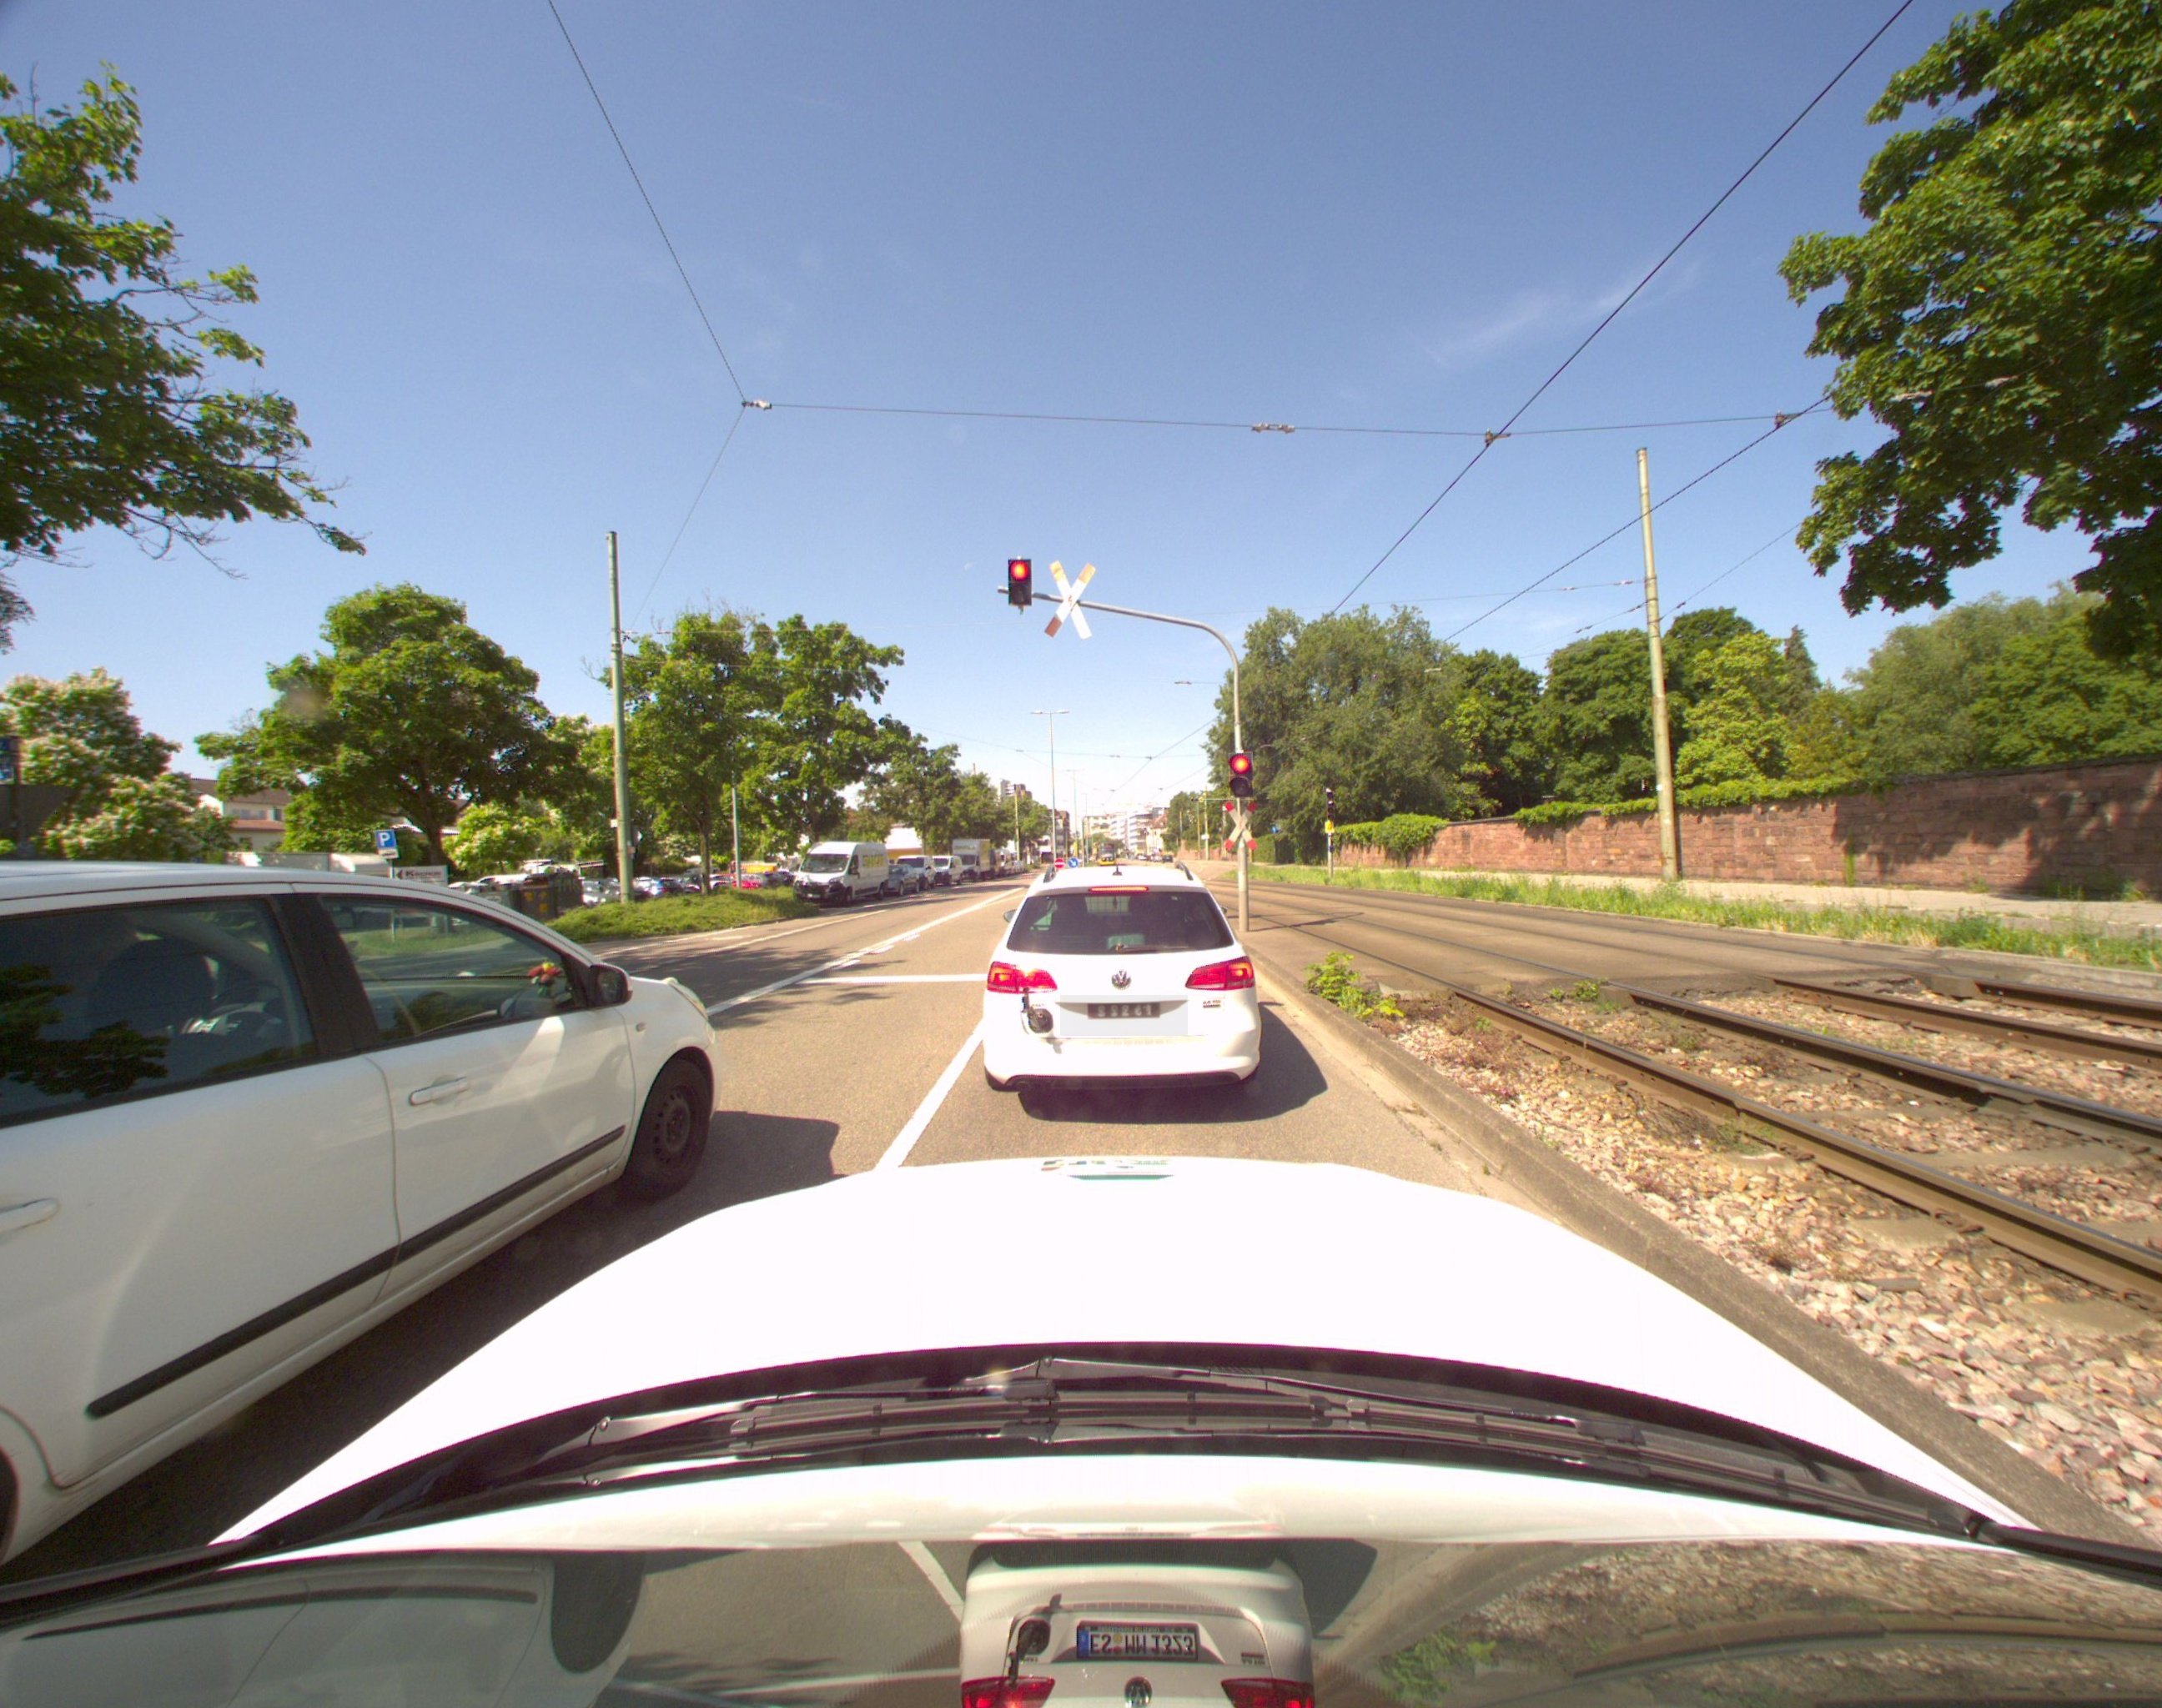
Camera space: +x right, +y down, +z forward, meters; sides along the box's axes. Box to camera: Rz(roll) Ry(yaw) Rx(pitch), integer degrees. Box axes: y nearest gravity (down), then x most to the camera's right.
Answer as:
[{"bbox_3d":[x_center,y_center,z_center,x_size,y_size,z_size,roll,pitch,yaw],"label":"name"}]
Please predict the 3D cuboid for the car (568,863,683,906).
[{"bbox_3d":[-20.160,1.336,36.154,3.978,1.610,1.729,-4,0,-3],"label":"car"}]

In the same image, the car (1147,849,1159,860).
[{"bbox_3d":[13.256,0.073,149.559,1.857,1.868,5.062,0,0,1],"label":"car"}]

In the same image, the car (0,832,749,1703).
[{"bbox_3d":[-2.743,0.746,2.238,1.656,1.547,4.548,-1,0,1],"label":"car"}]

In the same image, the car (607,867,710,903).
[{"bbox_3d":[-20.506,1.479,39.622,3.978,1.415,1.729,-4,0,-3],"label":"car"}]

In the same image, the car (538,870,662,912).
[{"bbox_3d":[-19.943,1.498,33.878,3.978,1.415,1.729,-4,0,-3],"label":"car"}]

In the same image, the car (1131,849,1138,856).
[{"bbox_3d":[15.427,-0.417,235.095,1.857,1.868,5.062,0,0,1],"label":"car"}]

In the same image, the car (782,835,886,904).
[{"bbox_3d":[-9.733,0.532,32.746,2.114,2.516,5.822,0,0,3],"label":"car"}]

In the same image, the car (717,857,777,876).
[{"bbox_3d":[-31.868,1.181,77.808,4.781,1.787,2.062,0,0,-3],"label":"car"}]

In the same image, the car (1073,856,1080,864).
[{"bbox_3d":[-1.186,1.499,210.537,1.756,1.896,4.915,0,0,1],"label":"car"}]

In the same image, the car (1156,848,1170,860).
[{"bbox_3d":[13.450,0.005,133.252,1.857,1.868,5.062,0,0,1],"label":"car"}]

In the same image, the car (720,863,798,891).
[{"bbox_3d":[-19.681,1.404,49.907,3.978,1.415,1.729,-4,0,-3],"label":"car"}]

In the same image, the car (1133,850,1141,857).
[{"bbox_3d":[15.078,-0.114,220.464,1.857,1.868,5.062,0,0,1],"label":"car"}]

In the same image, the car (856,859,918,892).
[{"bbox_3d":[-9.251,1.003,39.160,1.857,1.415,4.281,0,0,1],"label":"car"}]

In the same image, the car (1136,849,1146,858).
[{"bbox_3d":[13.381,-0.115,181.612,1.857,1.868,5.062,0,0,1],"label":"car"}]

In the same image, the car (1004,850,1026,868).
[{"bbox_3d":[-7.432,0.543,92.120,1.857,1.868,5.415,0,0,1],"label":"car"}]

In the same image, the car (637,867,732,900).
[{"bbox_3d":[-20.486,1.519,42.235,3.978,1.415,1.729,-4,0,-3],"label":"car"}]

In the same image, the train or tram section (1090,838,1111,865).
[{"bbox_3d":[3.010,-0.413,123.338,2.860,3.855,12.395,-3,0,1],"label":"train or tram section"}]

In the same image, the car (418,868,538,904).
[{"bbox_3d":[-32.110,1.702,43.496,4.781,1.787,2.062,0,0,-3],"label":"car"}]

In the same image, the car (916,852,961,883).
[{"bbox_3d":[-9.079,0.792,52.350,1.857,1.868,5.415,0,0,1],"label":"car"}]

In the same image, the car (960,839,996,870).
[{"bbox_3d":[-8.653,0.047,68.769,2.115,2.516,5.736,0,0,2],"label":"car"}]

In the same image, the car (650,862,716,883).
[{"bbox_3d":[-35.612,1.602,72.977,4.781,1.787,2.062,0,0,-3],"label":"car"}]

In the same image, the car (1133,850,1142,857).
[{"bbox_3d":[14.284,-0.099,205.425,1.857,1.868,5.062,0,0,1],"label":"car"}]

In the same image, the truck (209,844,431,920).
[{"bbox_3d":[-32.711,1.142,35.193,6.979,3.110,2.677,0,0,0],"label":"truck"}]

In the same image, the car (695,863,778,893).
[{"bbox_3d":[-19.867,1.378,47.087,3.978,1.415,1.729,-4,0,-3],"label":"car"}]

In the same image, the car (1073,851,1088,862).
[{"bbox_3d":[-0.023,0.334,112.551,1.699,1.473,4.592,-3,0,3],"label":"car"}]

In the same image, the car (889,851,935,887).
[{"bbox_3d":[-9.431,0.770,45.778,1.860,1.868,5.067,0,0,-4],"label":"car"}]

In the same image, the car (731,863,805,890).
[{"bbox_3d":[-20.019,1.429,52.212,3.978,1.415,1.729,-4,0,-3],"label":"car"}]

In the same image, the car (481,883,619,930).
[{"bbox_3d":[-20.152,1.986,31.037,3.978,1.415,1.729,-4,0,-3],"label":"car"}]

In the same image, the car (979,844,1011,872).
[{"bbox_3d":[-7.985,0.340,76.197,2.115,2.516,5.736,0,0,2],"label":"car"}]

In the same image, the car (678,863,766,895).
[{"bbox_3d":[-19.676,1.346,44.759,3.978,1.415,1.729,-4,0,-3],"label":"car"}]

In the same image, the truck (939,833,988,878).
[{"bbox_3d":[-8.655,0.099,60.765,2.411,3.150,7.000,0,0,2],"label":"truck"}]

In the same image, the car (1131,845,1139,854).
[{"bbox_3d":[17.086,-1.459,258.451,2.049,2.759,5.632,0,0,1],"label":"car"}]

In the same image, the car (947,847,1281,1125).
[{"bbox_3d":[0.230,0.706,6.444,1.756,1.430,4.001,-3,0,1],"label":"car"}]

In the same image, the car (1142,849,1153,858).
[{"bbox_3d":[13.378,-0.097,164.847,1.857,1.868,5.062,0,0,1],"label":"car"}]

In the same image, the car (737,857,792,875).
[{"bbox_3d":[-32.094,1.181,82.727,4.781,1.787,2.062,0,0,-3],"label":"car"}]

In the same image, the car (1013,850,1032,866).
[{"bbox_3d":[-7.096,0.488,99.034,1.857,1.868,5.415,0,0,1],"label":"car"}]
